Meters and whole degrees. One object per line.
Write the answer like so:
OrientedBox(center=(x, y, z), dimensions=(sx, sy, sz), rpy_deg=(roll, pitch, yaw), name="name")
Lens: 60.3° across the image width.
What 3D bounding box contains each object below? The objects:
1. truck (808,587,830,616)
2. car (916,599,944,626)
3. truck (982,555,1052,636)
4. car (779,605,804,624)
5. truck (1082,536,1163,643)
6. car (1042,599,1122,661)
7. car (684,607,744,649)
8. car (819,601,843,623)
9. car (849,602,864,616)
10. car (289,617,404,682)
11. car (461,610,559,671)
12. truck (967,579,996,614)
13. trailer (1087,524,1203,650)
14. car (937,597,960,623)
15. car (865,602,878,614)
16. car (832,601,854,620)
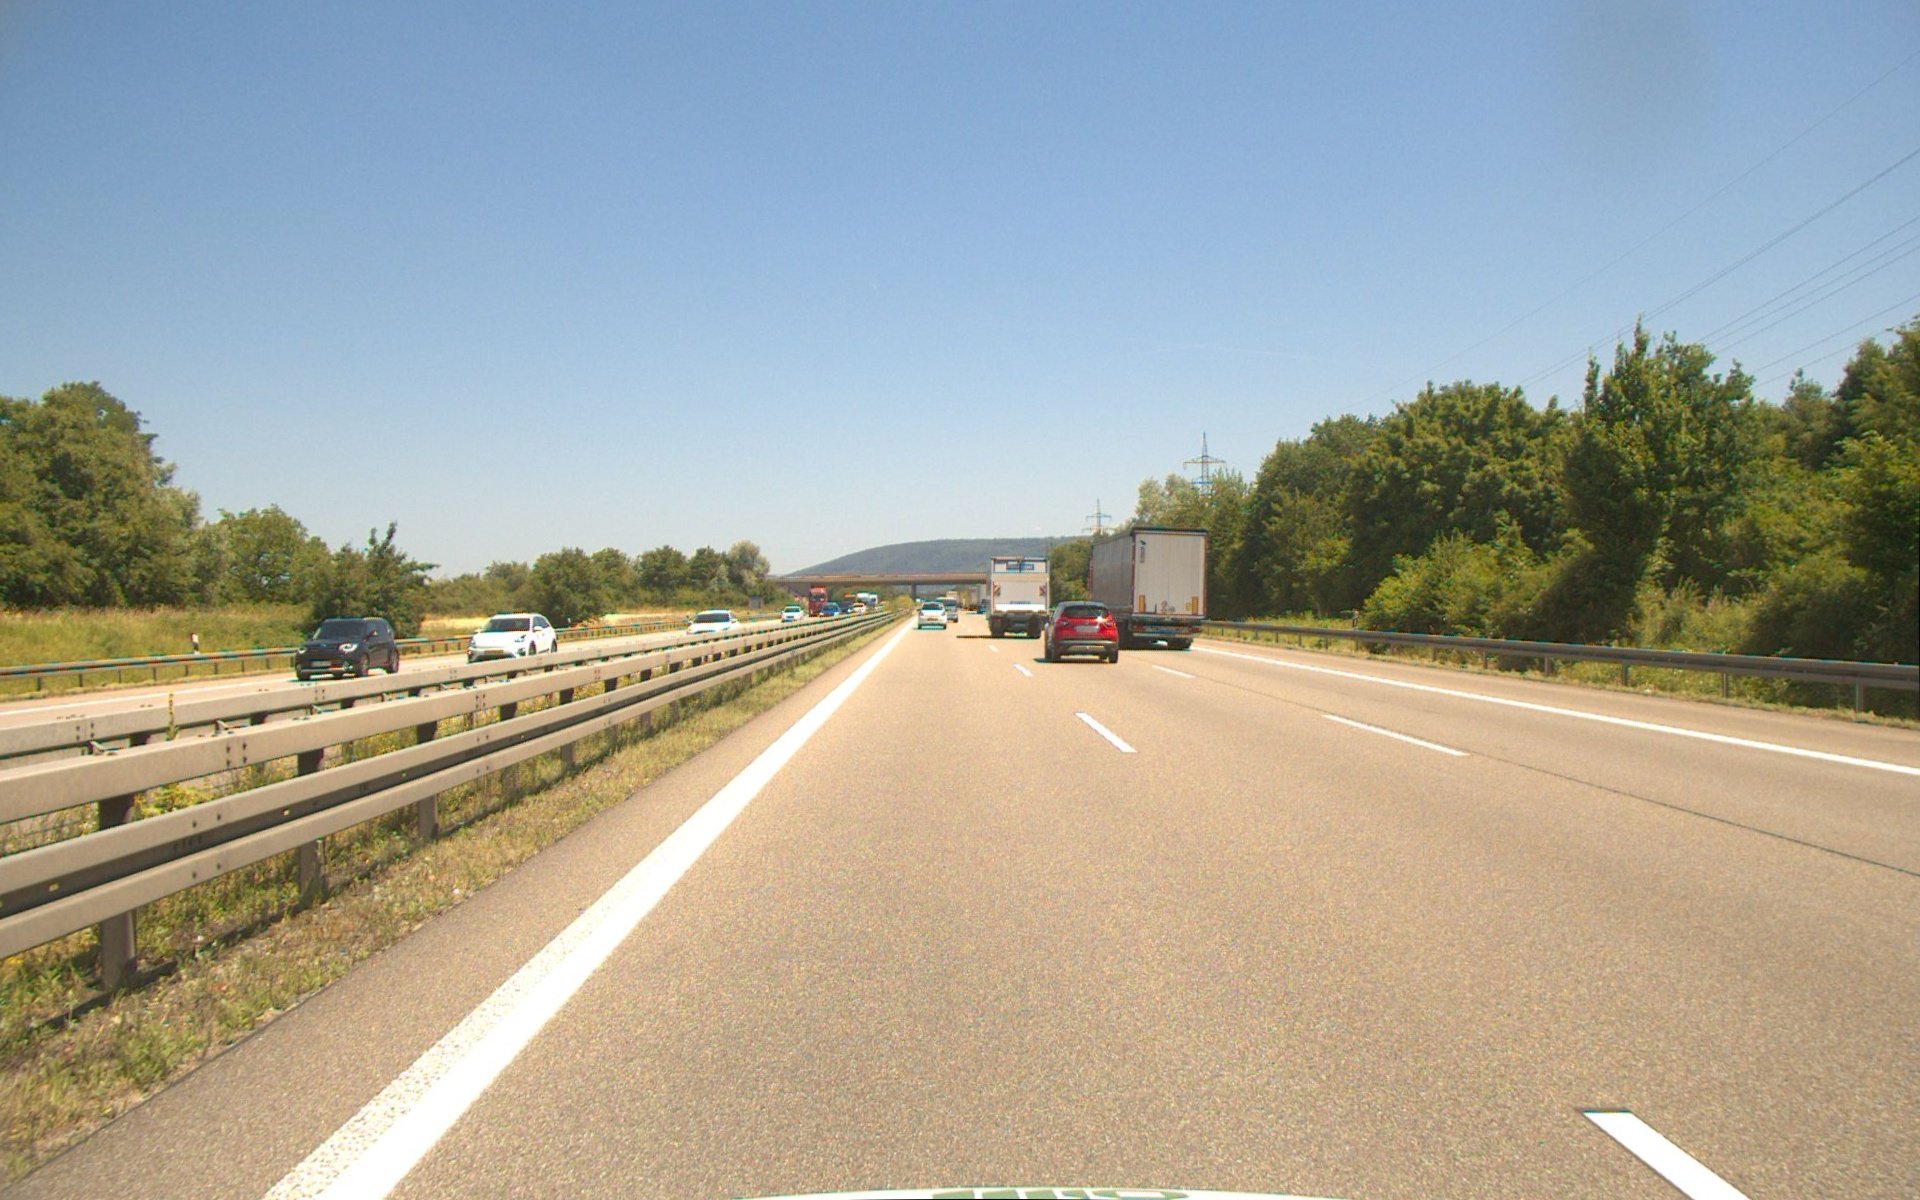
OrientedBox(center=(-20.326, 0.204, 238.332), dimensions=(2.705, 4.084, 5.749), rpy_deg=(-2, 0, -2), name="truck")
OrientedBox(center=(-1.711, 0.713, 96.059), dimensions=(1.574, 1.493, 4.000), rpy_deg=(-1, 0, 0), name="car")
OrientedBox(center=(2.493, -0.177, 74.903), dimensions=(2.726, 3.432, 8.125), rpy_deg=(0, 0, -1), name="truck")
OrientedBox(center=(-14.829, 1.241, 145.819), dimensions=(1.841, 1.593, 4.191), rpy_deg=(-2, 0, -1), name="car")
OrientedBox(center=(6.694, -0.419, 68.976), dimensions=(2.738, 4.237, 5.721), rpy_deg=(0, 0, -1), name="truck")
OrientedBox(center=(3.206, 0.772, 44.069), dimensions=(1.766, 1.572, 3.999), rpy_deg=(0, 0, -1), name="car")
OrientedBox(center=(-9.655, 1.075, 65.202), dimensions=(1.758, 1.518, 4.237), rpy_deg=(-2, 0, -1), name="car")
OrientedBox(center=(-11.111, 1.002, 142.855), dimensions=(1.731, 1.781, 3.985), rpy_deg=(-2, 0, -1), name="car")
OrientedBox(center=(-12.908, 1.114, 206.267), dimensions=(1.772, 1.563, 3.960), rpy_deg=(-2, 0, -1), name="car")
OrientedBox(center=(-16.863, 1.325, 45.656), dimensions=(1.698, 1.621, 3.902), rpy_deg=(-3, 0, -1), name="car")
OrientedBox(center=(-13.093, 1.154, 48.355), dimensions=(1.798, 1.613, 3.888), rpy_deg=(-2, 0, -1), name="car")
OrientedBox(center=(2.886, -0.458, 225.754), dimensions=(3.449, 4.493, 14.588), rpy_deg=(-1, 0, -1), name="truck")
OrientedBox(center=(6.748, -0.423, 62.348), dimensions=(2.732, 4.237, 13.572), rpy_deg=(0, 0, 0), name="trailer")
OrientedBox(center=(-0.901, 0.758, 128.035), dimensions=(1.725, 1.883, 4.000), rpy_deg=(-1, 0, -1), name="car")
OrientedBox(center=(-13.036, 1.124, 243.047), dimensions=(1.772, 1.676, 3.960), rpy_deg=(-2, 0, -1), name="car")
OrientedBox(center=(-11.802, 1.034, 167.095), dimensions=(1.919, 1.803, 4.442), rpy_deg=(-1, 0, -1), name="car")
